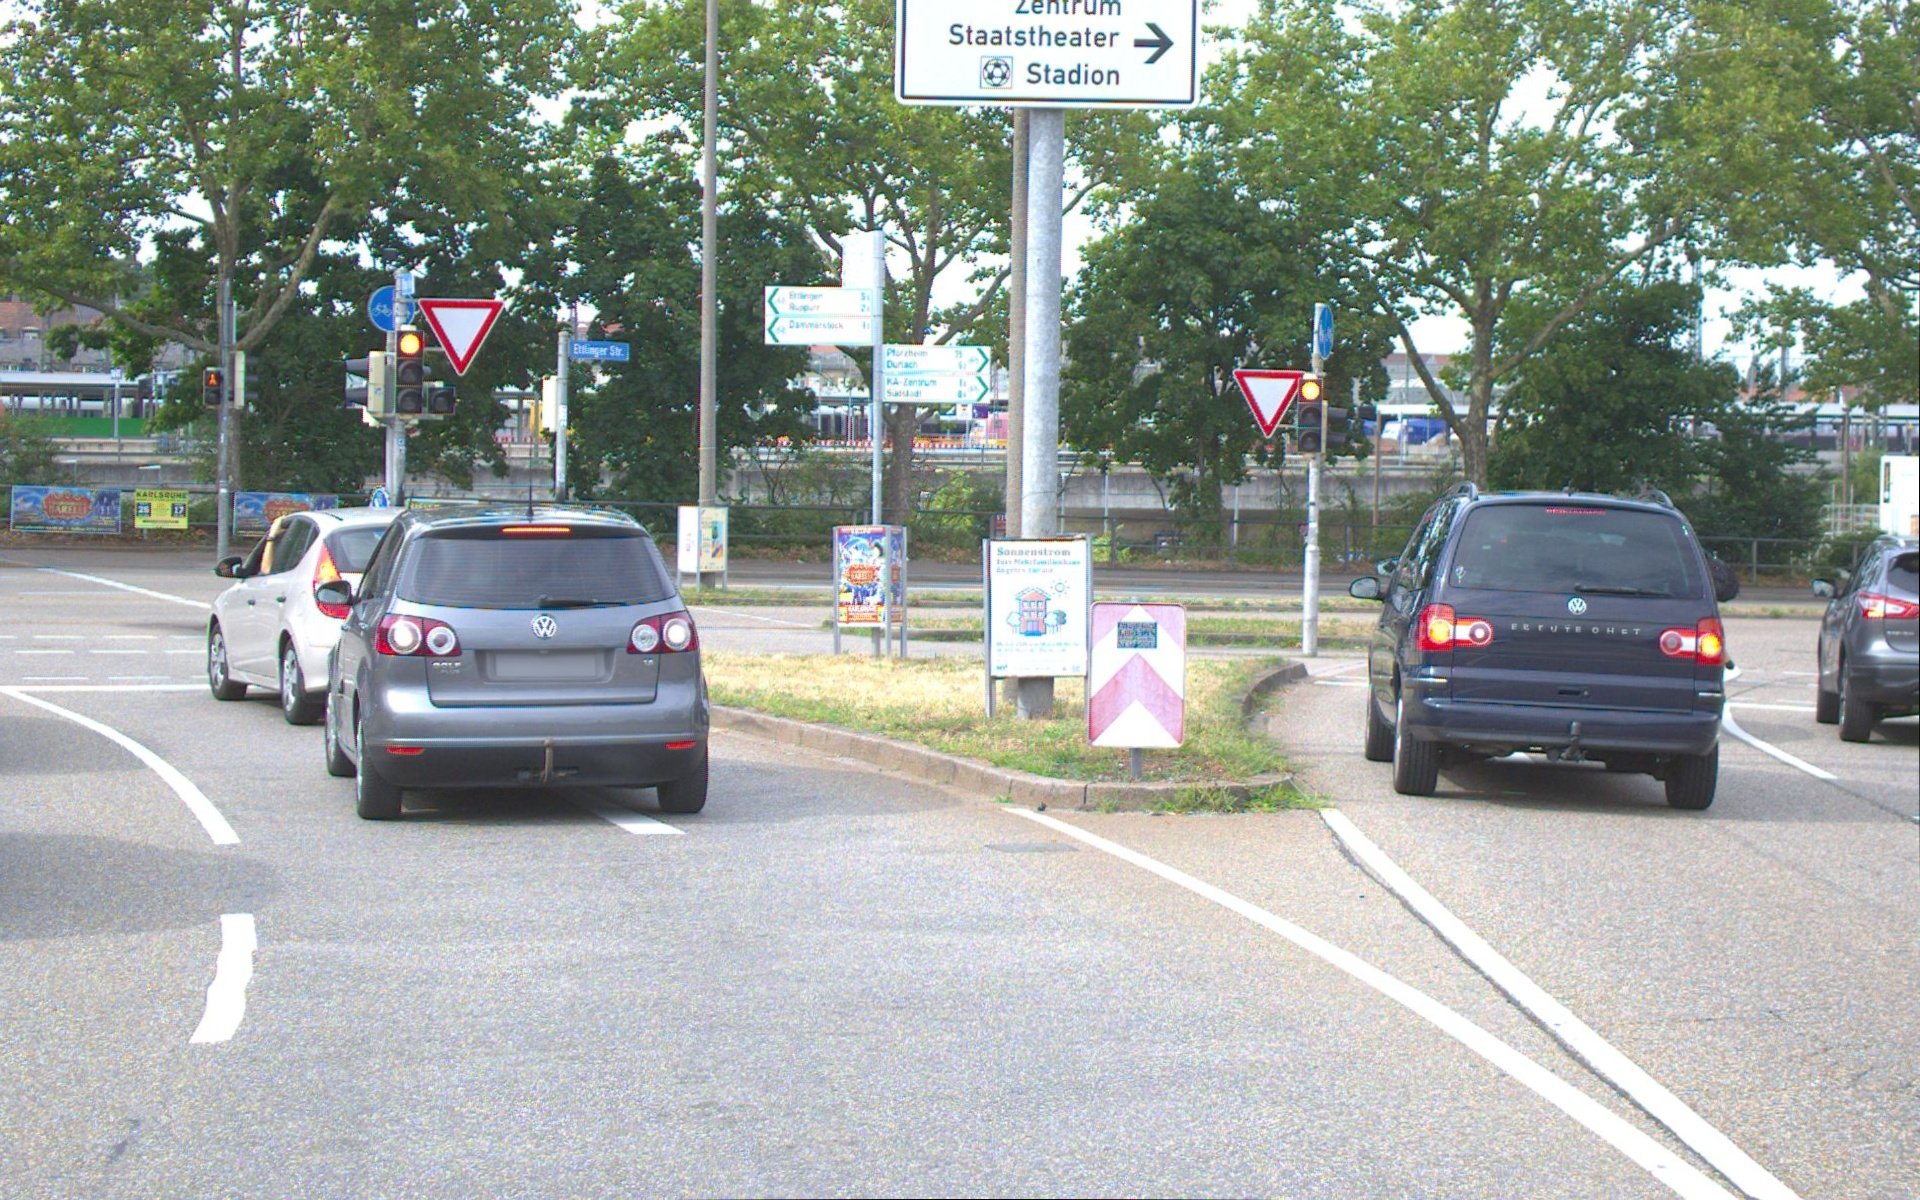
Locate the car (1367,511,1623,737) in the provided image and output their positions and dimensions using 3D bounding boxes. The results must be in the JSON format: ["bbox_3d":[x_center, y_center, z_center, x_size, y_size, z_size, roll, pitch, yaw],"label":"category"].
[{"bbox_3d":[4.173,0.140,27.316,1.691,1.580,4.155,3,1,5],"label":"car"}]

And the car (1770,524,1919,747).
[{"bbox_3d":[7.717,0.259,27.489,1.751,1.637,4.137,3,1,5],"label":"car"}]

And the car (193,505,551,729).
[{"bbox_3d":[-4.340,0.057,24.894,1.740,1.477,4.083,0,2,-22],"label":"car"}]

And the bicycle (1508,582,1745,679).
[{"bbox_3d":[6.771,0.303,34.992,2.228,0.949,0.812,0,2,-2],"label":"bicycle"}]

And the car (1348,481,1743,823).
[{"bbox_3d":[3.303,0.236,20.117,1.750,1.719,4.137,3,1,3],"label":"car"}]

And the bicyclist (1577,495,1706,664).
[{"bbox_3d":[6.926,-0.219,34.990,1.112,1.690,0.813,0,2,-2],"label":"bicyclist"}]

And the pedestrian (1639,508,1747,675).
[{"bbox_3d":[7.708,-0.102,36.179,1.047,1.704,0.853,2,2,11],"label":"pedestrian"}]

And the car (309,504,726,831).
[{"bbox_3d":[-2.476,0.264,18.388,1.740,1.541,4.083,0,2,-14],"label":"car"}]
